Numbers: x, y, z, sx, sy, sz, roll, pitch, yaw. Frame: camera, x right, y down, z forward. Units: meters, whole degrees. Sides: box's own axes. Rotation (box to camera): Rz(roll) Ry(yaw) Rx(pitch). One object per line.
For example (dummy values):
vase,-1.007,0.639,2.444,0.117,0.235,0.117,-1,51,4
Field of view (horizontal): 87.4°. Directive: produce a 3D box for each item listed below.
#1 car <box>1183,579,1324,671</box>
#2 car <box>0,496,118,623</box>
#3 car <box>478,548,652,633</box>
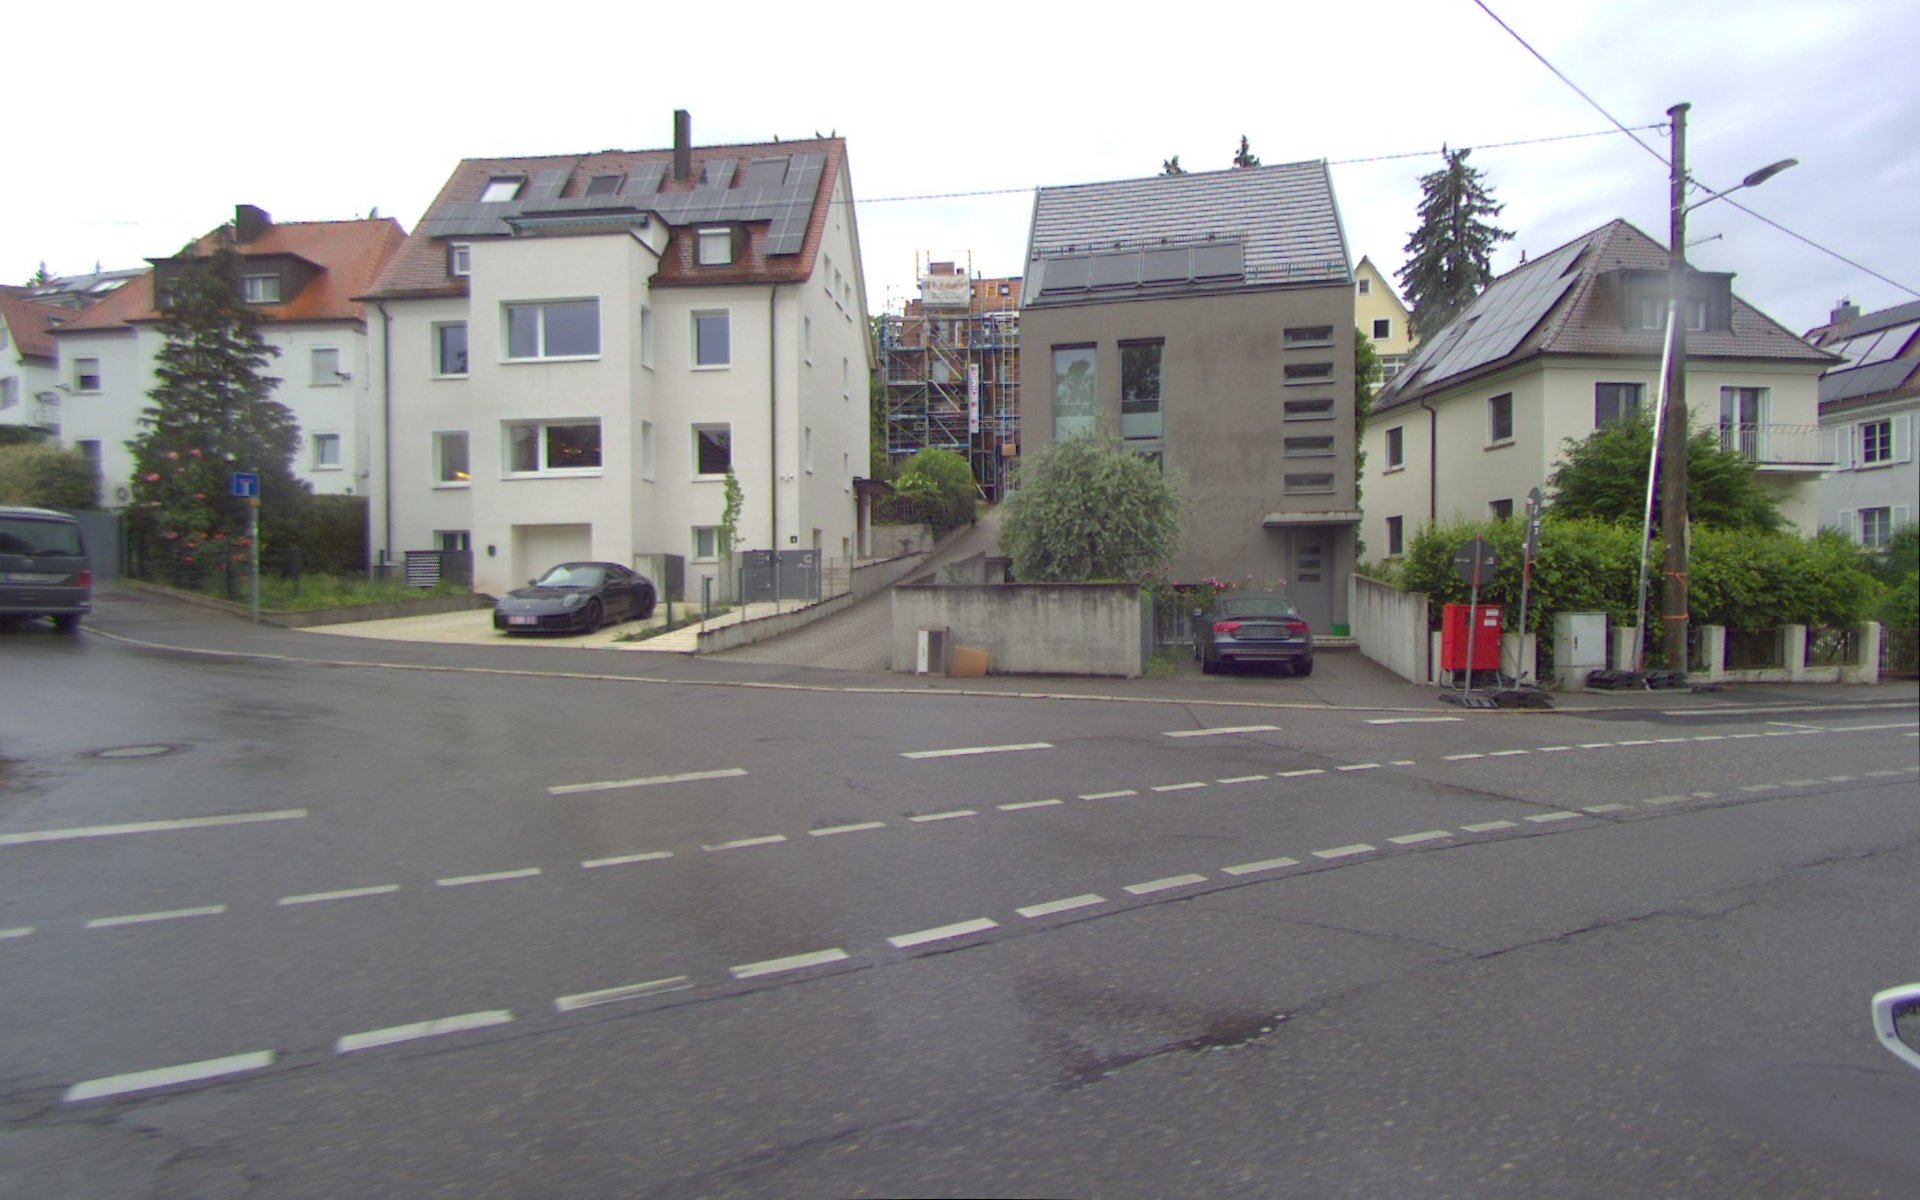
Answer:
car,5.164,0.372,18.202,1.802,1.463,4.002,1,1,7
car,-16.576,-0.787,17.254,3.929,1.945,1.996,7,2,31
car,-7.880,-0.198,20.437,1.700,1.528,3.820,2,1,6
